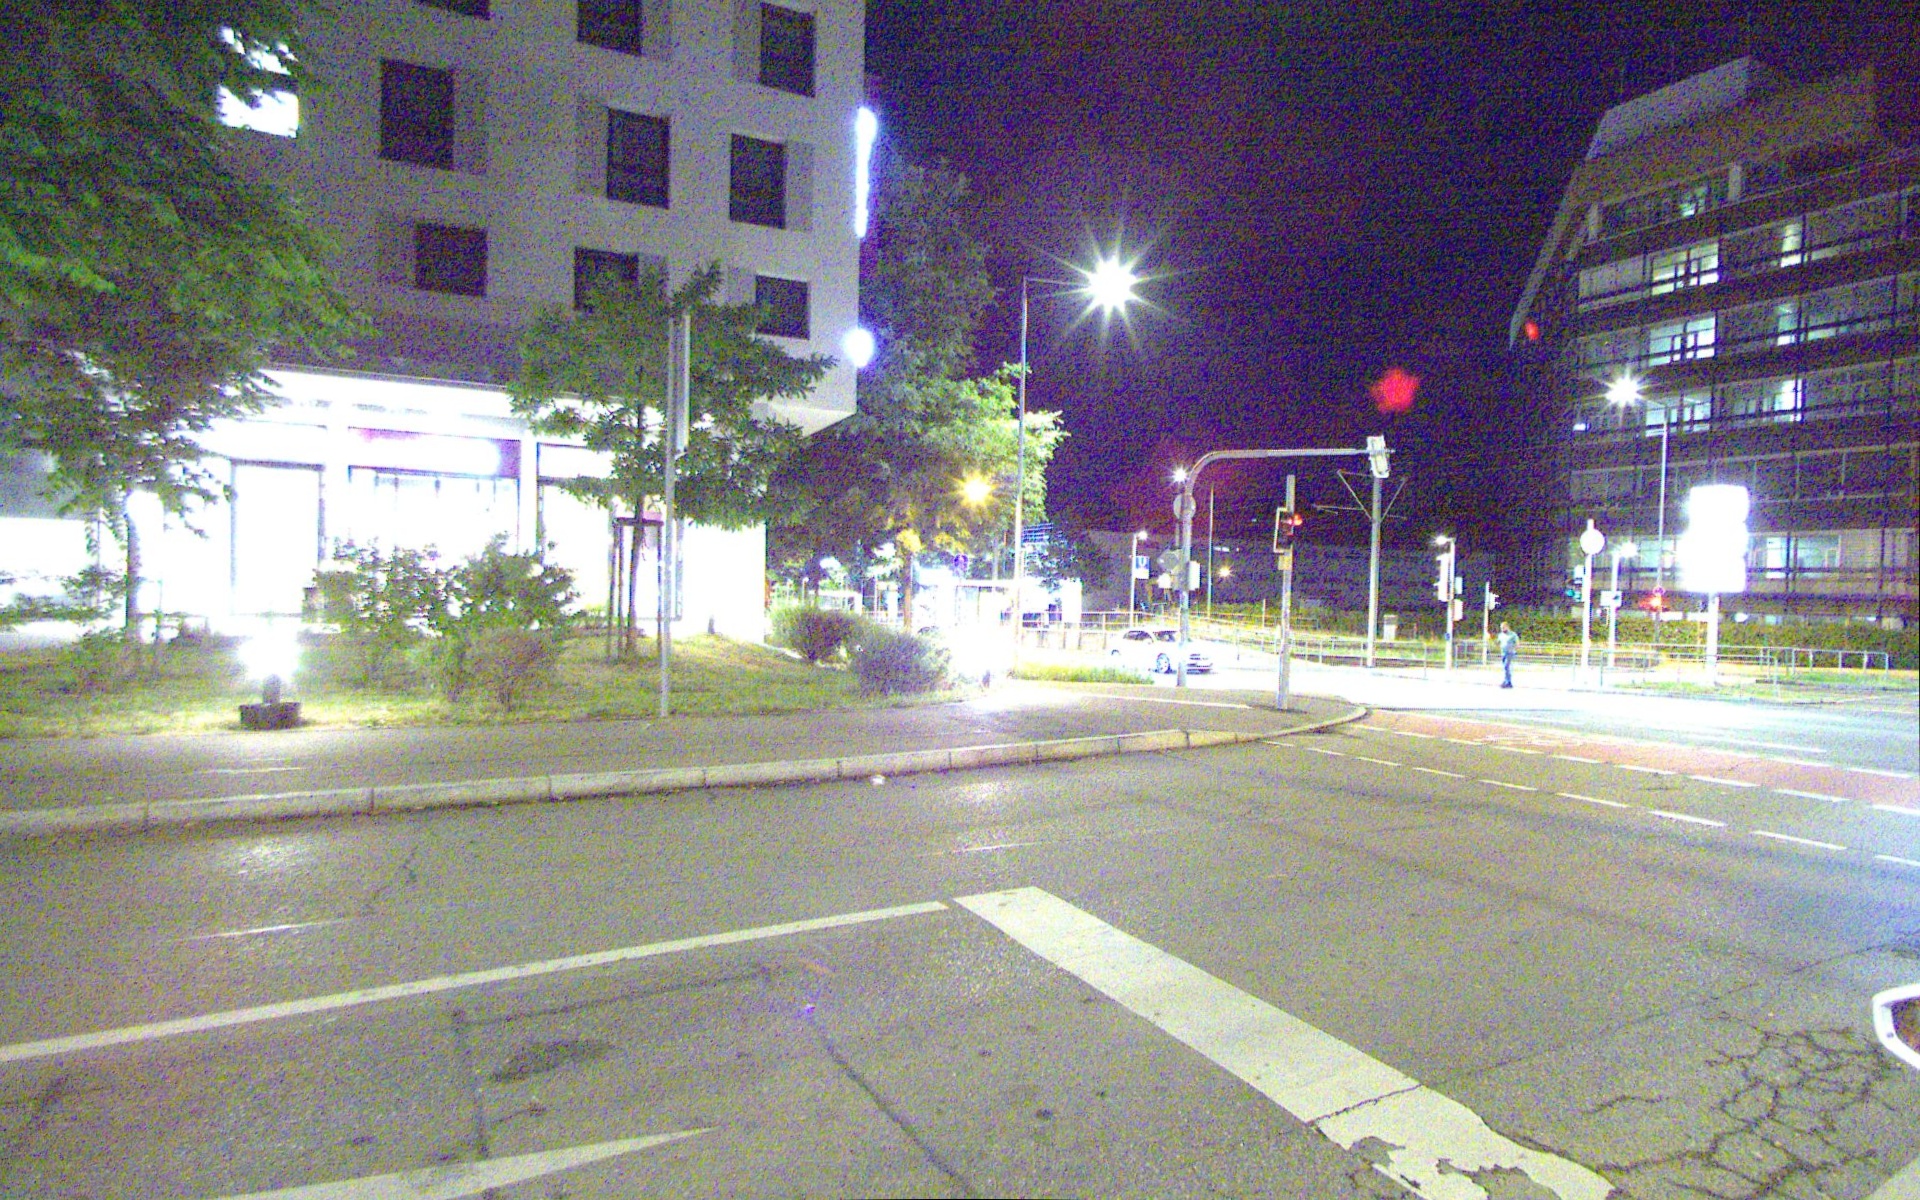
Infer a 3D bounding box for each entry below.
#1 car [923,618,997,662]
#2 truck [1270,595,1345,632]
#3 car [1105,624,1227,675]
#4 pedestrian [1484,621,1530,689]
[{"bbox_3d":[-0.076,1.619,41.507,1.877,1.592,3.984,2,0,-18],"label":"car"},{"bbox_3d":[30.902,1.171,89.555,2.877,3.129,5.873,2,0,-28],"label":"truck"},{"bbox_3d":[6.656,1.573,32.914,1.794,1.522,4.174,0,-1,-25],"label":"car"},{"bbox_3d":[13.781,1.370,25.298,0.854,1.656,0.665,2,0,-34],"label":"pedestrian"}]
